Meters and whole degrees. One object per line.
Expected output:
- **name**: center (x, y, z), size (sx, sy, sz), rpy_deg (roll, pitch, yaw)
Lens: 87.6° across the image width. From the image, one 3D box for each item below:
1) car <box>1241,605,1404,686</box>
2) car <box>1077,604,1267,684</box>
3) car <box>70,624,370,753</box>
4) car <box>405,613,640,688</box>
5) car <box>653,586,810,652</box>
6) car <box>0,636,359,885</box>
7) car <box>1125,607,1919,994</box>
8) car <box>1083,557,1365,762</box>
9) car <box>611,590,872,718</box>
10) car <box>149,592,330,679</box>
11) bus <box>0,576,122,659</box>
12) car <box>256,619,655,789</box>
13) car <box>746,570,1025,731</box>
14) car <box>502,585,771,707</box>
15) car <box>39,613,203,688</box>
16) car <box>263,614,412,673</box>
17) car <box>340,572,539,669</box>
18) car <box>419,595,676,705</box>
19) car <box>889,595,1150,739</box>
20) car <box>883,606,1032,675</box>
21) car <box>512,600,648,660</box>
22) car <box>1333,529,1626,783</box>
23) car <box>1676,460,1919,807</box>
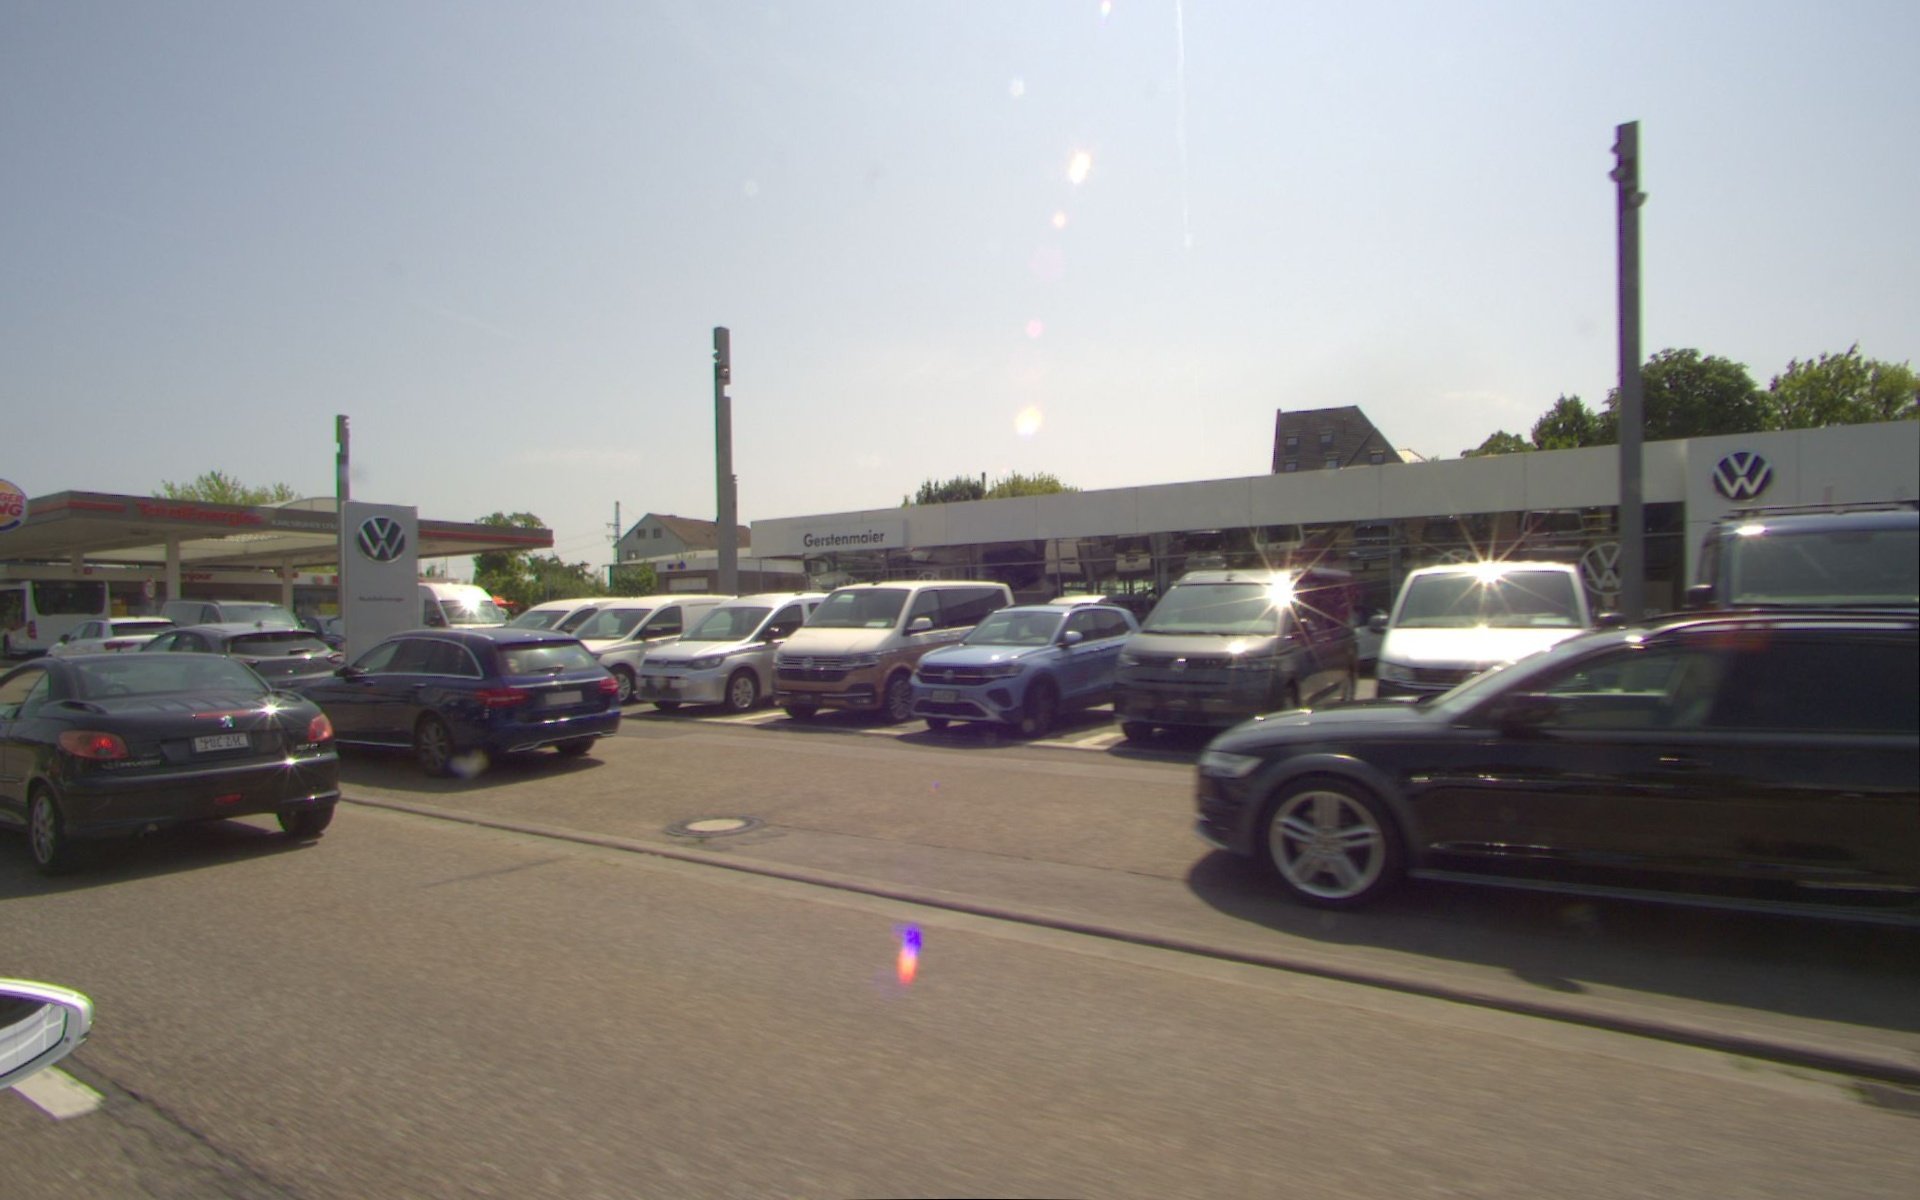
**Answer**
- **car**: center (7.535, 0.872, 20.681), size (3.531, 1.467, 1.661), rpy_deg (-1, 1, -41)
- **car**: center (4.698, 0.886, 21.832), size (4.314, 1.497, 1.850), rpy_deg (-1, 1, -41)
- **car**: center (-10.346, 1.132, 13.962), size (4.114, 1.572, 1.732), rpy_deg (-1, -2, 27)
- **car**: center (-9.675, 1.054, 22.509), size (1.971, 1.465, 4.524), rpy_deg (-1, -1, 32)
- **car**: center (-9.709, 0.770, 42.224), size (6.972, 2.589, 2.251), rpy_deg (-1, 0, 33)
- **car**: center (-6.294, 1.010, 7.540), size (3.609, 1.443, 1.597), rpy_deg (-1, -1, 32)
- **car**: center (3.587, 0.825, 5.148), size (5.078, 1.501, 1.852), rpy_deg (-1, 0, 29)
- **car**: center (3.467, 0.651, 12.365), size (1.975, 2.010, 4.779), rpy_deg (1, -1, 32)
- **car**: center (-3.432, 0.771, 16.495), size (1.854, 1.804, 4.142), rpy_deg (-1, 0, 31)
- **car**: center (-18.599, 0.926, 25.790), size (5.086, 2.049, 1.990), rpy_deg (-1, -2, 32)
- **bus**: center (-39.141, 0.722, 42.409), size (12.122, 3.119, 2.796), rpy_deg (0, -1, 36)
- **car**: center (-5.773, 1.050, 11.283), size (4.720, 1.568, 1.711), rpy_deg (-2, -1, 30)
- **car**: center (-0.918, 0.626, 15.193), size (1.931, 2.040, 4.632), rpy_deg (0, 1, 30)
- **car**: center (-5.645, 0.760, 18.076), size (1.830, 1.913, 4.548), rpy_deg (-1, -1, 31)
- **car**: center (-19.942, 1.149, 23.753), size (4.547, 1.617, 1.663), rpy_deg (-1, 0, 32)
- **car**: center (-17.508, 1.214, 28.112), size (4.535, 1.532, 1.741), rpy_deg (-1, -3, 32)
- **car**: center (-15.970, 0.627, 30.551), size (6.918, 2.711, 2.251), rpy_deg (-1, 0, 33)
- **car**: center (-7.911, 0.895, 19.632), size (1.881, 1.907, 4.405), rpy_deg (-1, -1, 31)
- **car**: center (0.895, 0.817, 13.093), size (1.695, 1.590, 3.618), rpy_deg (-2, -2, 37)
- **car**: center (0.025, 0.976, 25.285), size (1.834, 1.591, 3.976), rpy_deg (-1, -1, 34)
- **car**: center (-13.272, 0.990, 34.914), size (4.725, 1.891, 1.731), rpy_deg (1, 1, 27)
- **car**: center (5.970, 0.589, 11.137), size (2.227, 2.039, 5.884), rpy_deg (-2, -3, 32)
- **car**: center (8.554, 0.353, 9.886), size (2.175, 2.554, 5.830), rpy_deg (-3, -3, 34)
